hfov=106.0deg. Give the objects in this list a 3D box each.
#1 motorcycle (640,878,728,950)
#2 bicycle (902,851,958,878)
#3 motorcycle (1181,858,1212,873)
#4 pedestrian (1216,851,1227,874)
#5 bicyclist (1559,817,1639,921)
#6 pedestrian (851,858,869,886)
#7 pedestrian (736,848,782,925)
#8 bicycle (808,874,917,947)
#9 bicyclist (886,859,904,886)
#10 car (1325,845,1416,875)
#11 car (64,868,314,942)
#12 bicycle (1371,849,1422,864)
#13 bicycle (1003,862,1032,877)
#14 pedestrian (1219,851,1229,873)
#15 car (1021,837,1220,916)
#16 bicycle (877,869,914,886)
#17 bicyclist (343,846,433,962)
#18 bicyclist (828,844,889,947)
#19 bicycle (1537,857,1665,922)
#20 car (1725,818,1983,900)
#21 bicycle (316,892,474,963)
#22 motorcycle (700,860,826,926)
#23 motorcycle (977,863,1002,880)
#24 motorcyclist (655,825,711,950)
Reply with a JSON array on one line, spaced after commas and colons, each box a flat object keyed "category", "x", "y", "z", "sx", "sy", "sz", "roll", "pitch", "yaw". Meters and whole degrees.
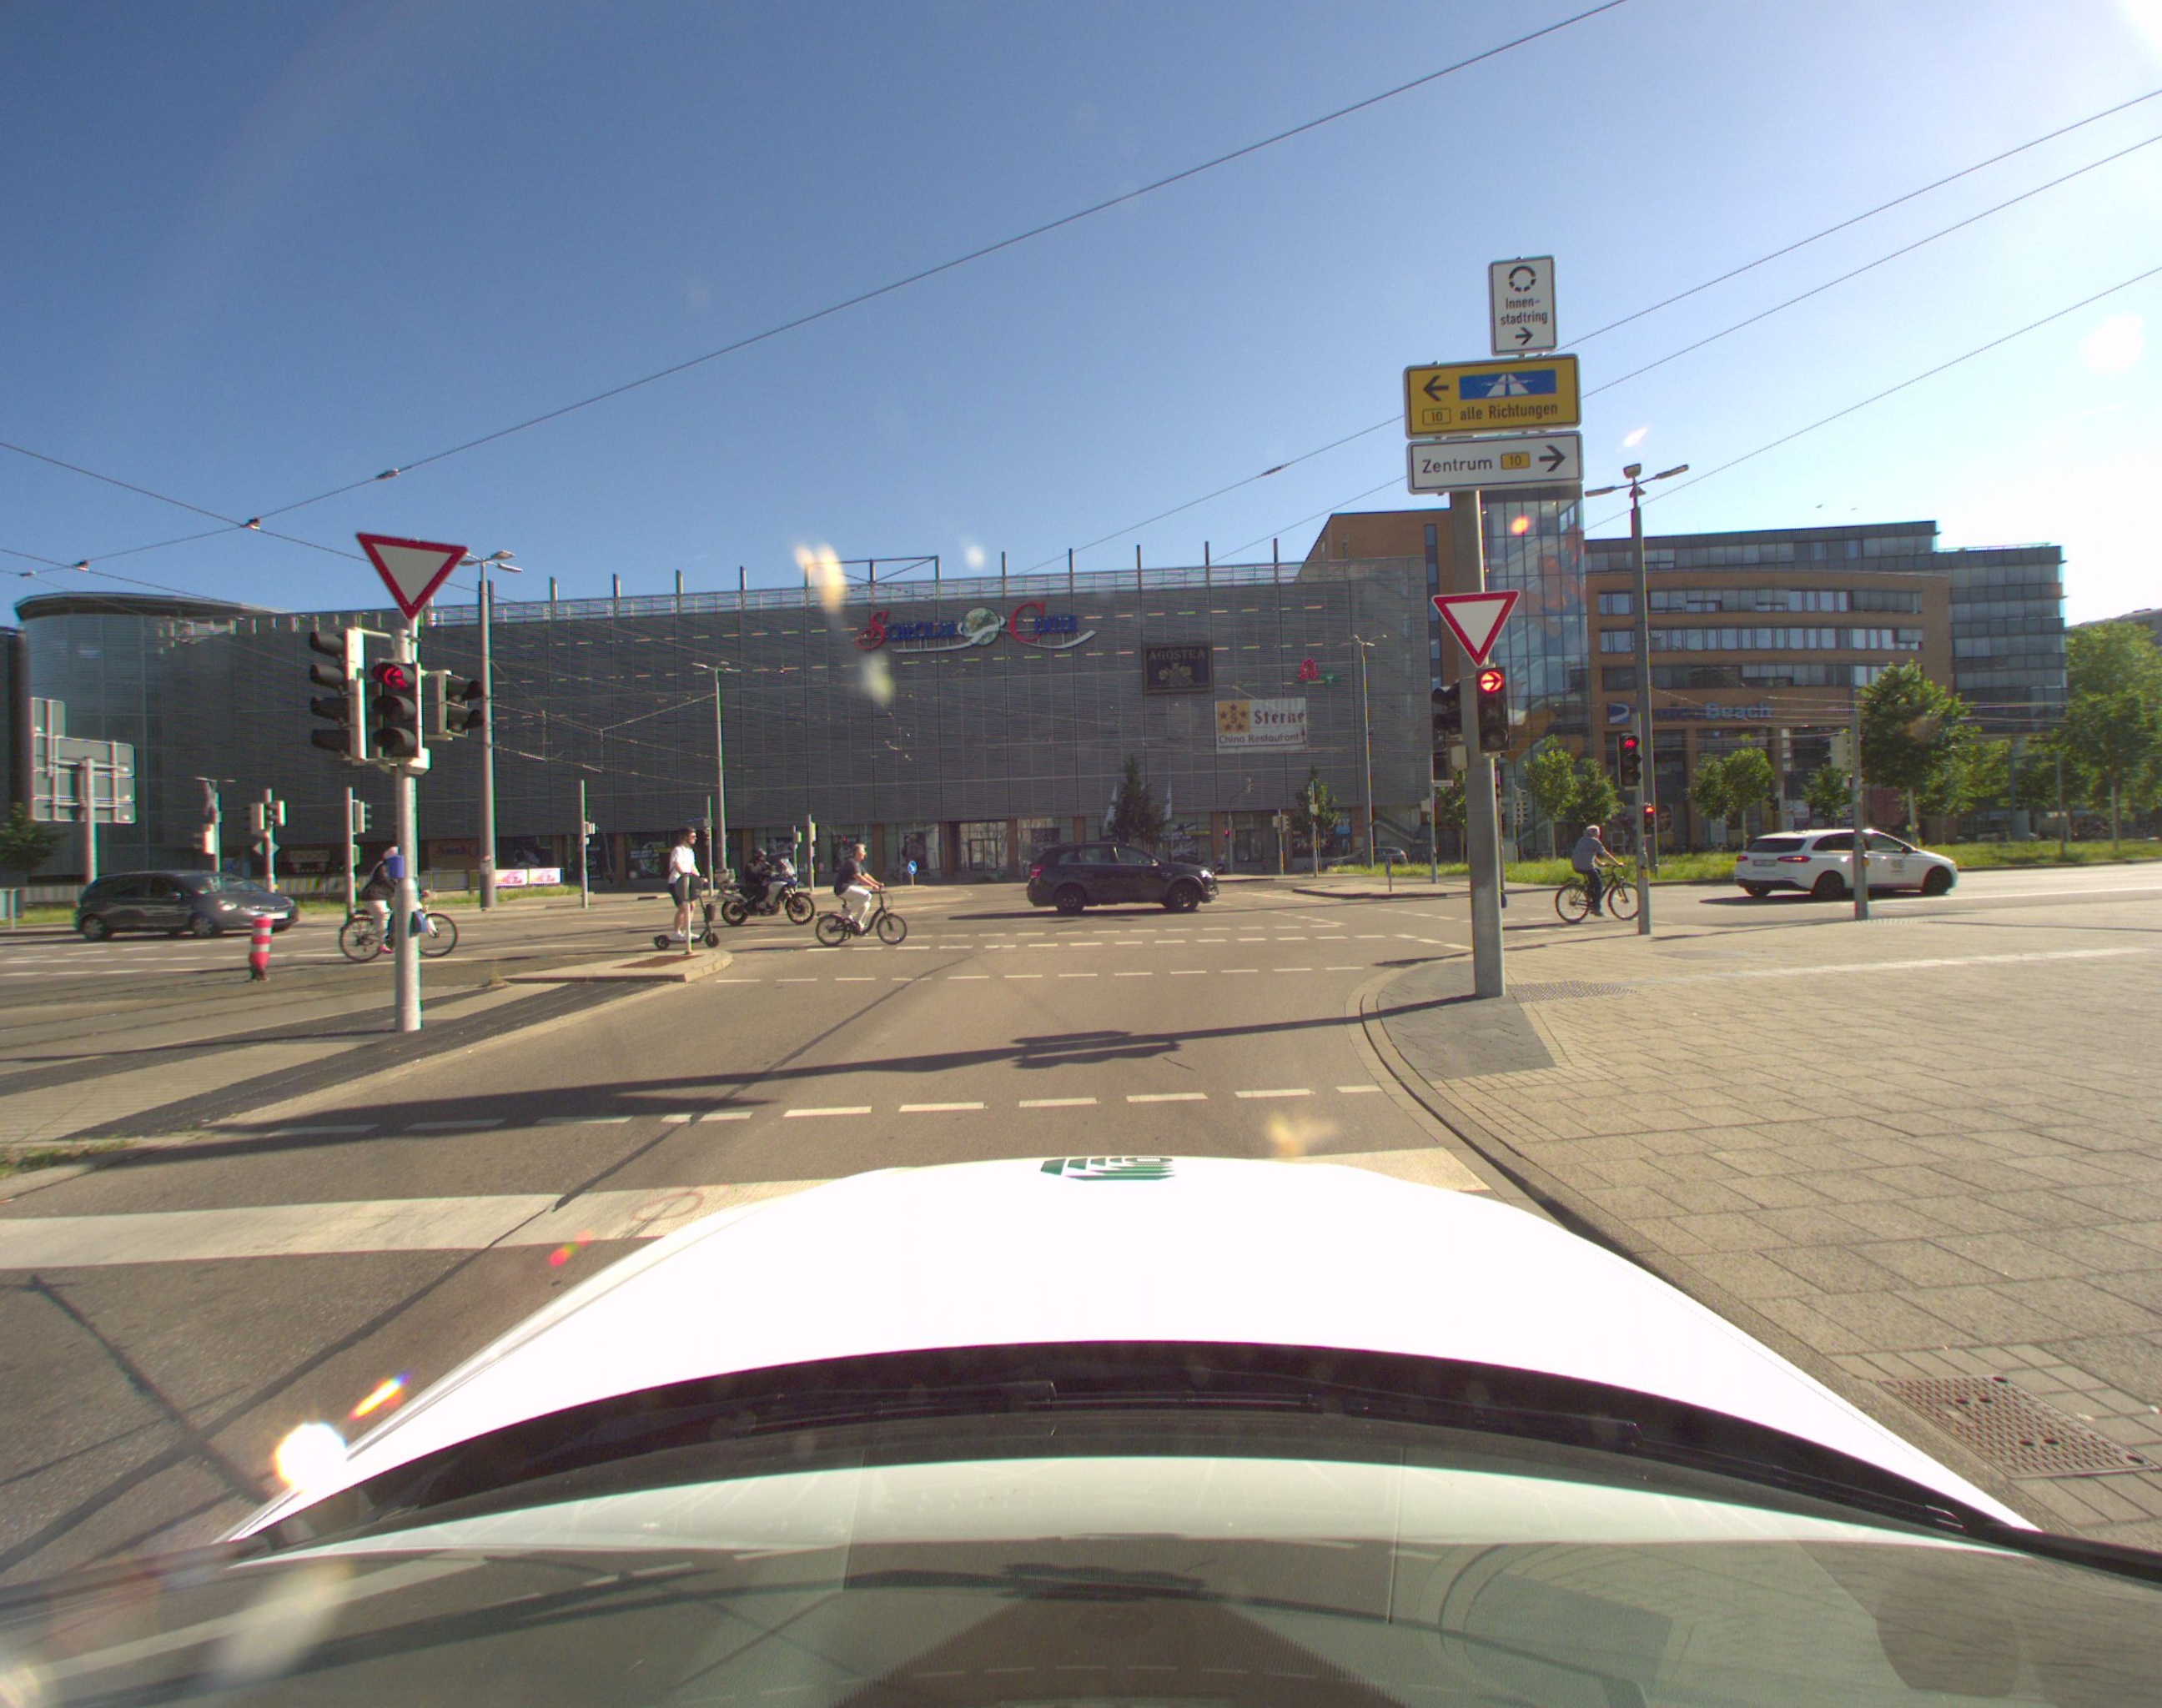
[{"category": "motorcycle", "x": -6.584, "y": 0.986, "z": 13.528, "sx": 1.182, "sy": 1.121, "sz": 0.483, "roll": -2, "pitch": 0, "yaw": 1}, {"category": "bicycle", "x": -11.431, "y": 0.791, "z": 61.856, "sx": 3.971, "sy": 2.013, "sz": 1.331, "roll": -1, "pitch": 0, "yaw": 2}, {"category": "motorcycle", "x": 8.613, "y": 0.837, "z": 60.734, "sx": 2.194, "sy": 1.042, "sz": 1.062, "roll": -1, "pitch": 0, "yaw": 2}, {"category": "pedestrian", "x": 9.414, "y": 0.588, "z": 54.474, "sx": 0.587, "sy": 1.535, "sz": 0.658, "roll": -2, "pitch": -1, "yaw": 1}, {"category": "bicyclist", "x": 9.655, "y": 0.274, "z": 15.222, "sx": 0.898, "sy": 1.859, "sz": 0.855, "roll": -2, "pitch": -1, "yaw": 2}, {"category": "pedestrian", "x": -15.077, "y": 1.234, "z": 55.545, "sx": 0.894, "sy": 1.868, "sz": 0.826, "roll": -2, "pitch": -1, "yaw": 44}, {"category": "pedestrian", "x": -7.201, "y": 0.724, "z": 18.226, "sx": 0.741, "sy": 1.677, "sz": 0.665, "roll": -1, "pitch": -1, "yaw": 1}, {"category": "bicycle", "x": -3.612, "y": 0.920, "z": 13.544, "sx": 1.571, "sy": 1.107, "sz": 0.734, "roll": -2, "pitch": 0, "yaw": -1}, {"category": "bicyclist", "x": -12.605, "y": 1.237, "z": 55.244, "sx": 0.849, "sy": 1.803, "sz": 0.806, "roll": -1, "pitch": -1, "yaw": -40}, {"category": "car", "x": 16.079, "y": 0.308, "z": 45.355, "sx": 4.470, "sy": 1.495, "sz": 1.495, "roll": -2, "pitch": 0, "yaw": 1}, {"category": "car", "x": -20.200, "y": 1.121, "z": 18.564, "sx": 3.737, "sy": 1.525, "sz": 1.824, "roll": -1, "pitch": 0, "yaw": 2}, {"category": "bicycle", "x": 23.526, "y": 0.193, "z": 60.745, "sx": 3.342, "sy": 1.077, "sz": 1.119, "roll": -1, "pitch": 0, "yaw": 7}, {"category": "bicycle", "x": -4.758, "y": 1.157, "z": 60.767, "sx": 2.019, "sy": 1.059, "sz": 1.145, "roll": -2, "pitch": 0, "yaw": 1}, {"category": "pedestrian", "x": 9.687, "y": 0.563, "z": 55.178, "sx": 0.587, "sy": 1.462, "sz": 0.658, "roll": -2, "pitch": -1, "yaw": 1}, {"category": "car", "x": 0.891, "y": 0.504, "z": 19.828, "sx": 4.625, "sy": 1.718, "sz": 1.837, "roll": -1, "pitch": 1, "yaw": -4}, {"category": "bicycle", "x": -12.587, "y": 1.595, "z": 55.317, "sx": 2.256, "sy": 1.070, "sz": 1.034, "roll": -2, "pitch": 0, "yaw": -39}, {"category": "bicyclist", "x": -11.192, "y": 0.784, "z": 13.177, "sx": 0.761, "sy": 1.789, "sz": 0.762, "roll": -2, "pitch": 0, "yaw": -2}, {"category": "bicyclist", "x": -3.699, "y": 0.668, "z": 13.568, "sx": 0.780, "sy": 1.648, "sz": 0.690, "roll": -2, "pitch": -1, "yaw": -1}, {"category": "bicycle", "x": 9.685, "y": 0.650, "z": 15.226, "sx": 1.822, "sy": 1.116, "sz": 0.854, "roll": -2, "pitch": 0, "yaw": 2}, {"category": "car", "x": 17.568, "y": 0.086, "z": 18.620, "sx": 4.484, "sy": 1.635, "sz": 1.835, "roll": -2, "pitch": 1, "yaw": -7}, {"category": "bicycle", "x": -11.068, "y": 1.173, "z": 13.179, "sx": 1.920, "sy": 1.036, "sz": 0.694, "roll": -2, "pitch": 0, "yaw": -2}, {"category": "motorcycle", "x": -7.083, "y": 0.855, "z": 18.241, "sx": 2.435, "sy": 1.419, "sz": 0.915, "roll": -1, "pitch": 0, "yaw": 0}, {"category": "motorcycle", "x": -6.315, "y": 1.205, "z": 56.173, "sx": 1.641, "sy": 1.059, "sz": 0.499, "roll": -2, "pitch": -1, "yaw": 11}, {"category": "motorcyclist", "x": -6.605, "y": 0.547, "z": 13.527, "sx": 0.625, "sy": 2.014, "sz": 0.498, "roll": -2, "pitch": -1, "yaw": 2}]
